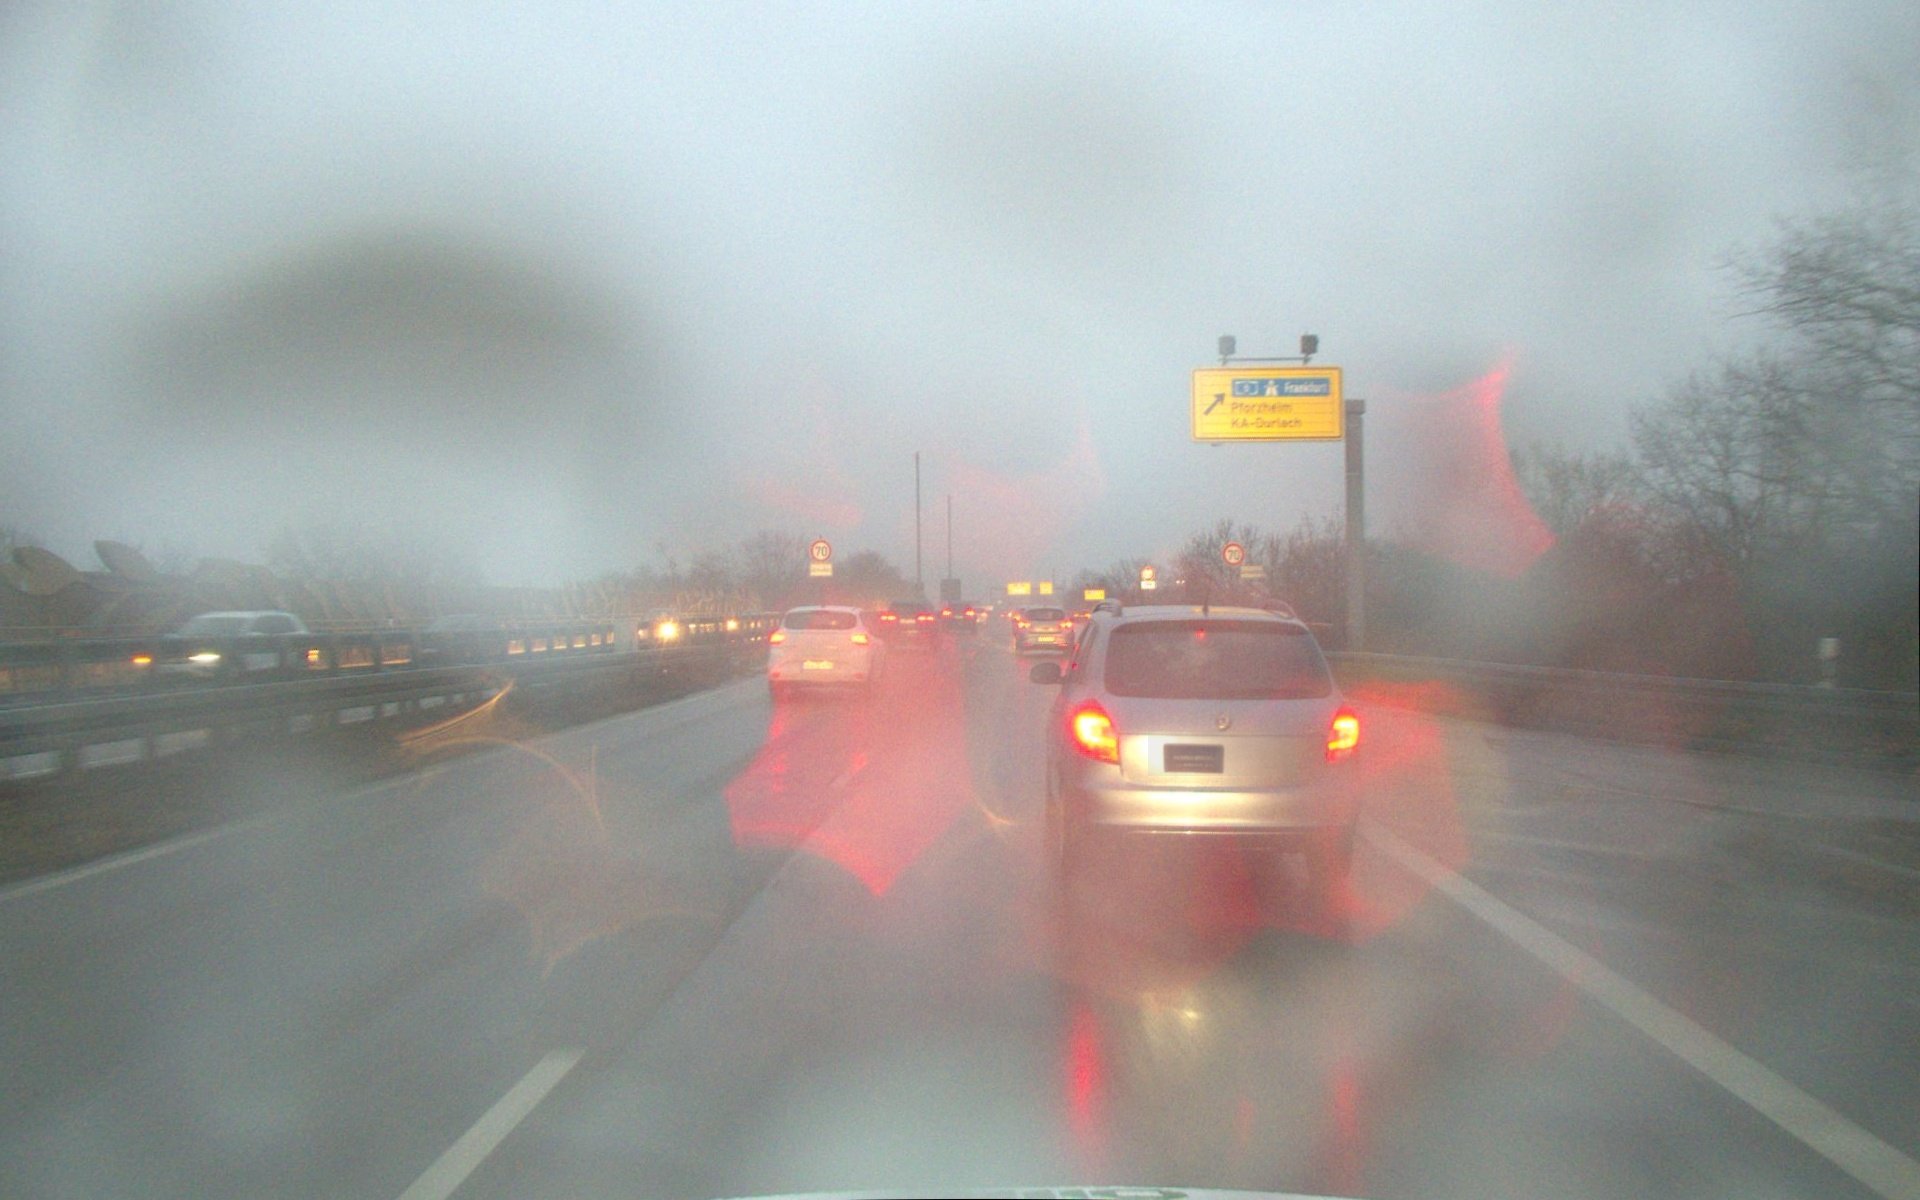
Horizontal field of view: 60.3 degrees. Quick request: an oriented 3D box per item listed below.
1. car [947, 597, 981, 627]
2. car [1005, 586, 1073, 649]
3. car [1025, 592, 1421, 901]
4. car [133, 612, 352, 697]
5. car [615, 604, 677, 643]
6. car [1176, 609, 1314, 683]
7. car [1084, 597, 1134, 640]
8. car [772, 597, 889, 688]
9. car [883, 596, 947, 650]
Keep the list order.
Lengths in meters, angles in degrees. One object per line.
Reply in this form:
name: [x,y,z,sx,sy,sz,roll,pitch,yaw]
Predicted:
car: [0.254,0.631,89.103,1.752,1.572,4.001,0,0,1]
car: [2.354,0.512,50.021,1.858,1.798,4.308,0,0,0]
car: [1.395,0.751,10.374,1.952,1.527,4.138,-1,0,2]
car: [-14.856,1.078,34.568,1.800,1.589,4.686,0,0,12]
car: [-13.448,0.978,71.112,1.749,1.592,4.851,0,0,0]
car: [5.687,0.889,33.490,1.953,1.369,3.998,0,0,-3]
car: [5.719,0.700,63.621,1.752,1.572,4.002,-1,0,3]
car: [-2.165,0.682,28.680,1.688,1.465,4.225,0,0,0]
car: [-1.482,0.702,53.364,1.954,1.629,4.306,1,0,-3]
